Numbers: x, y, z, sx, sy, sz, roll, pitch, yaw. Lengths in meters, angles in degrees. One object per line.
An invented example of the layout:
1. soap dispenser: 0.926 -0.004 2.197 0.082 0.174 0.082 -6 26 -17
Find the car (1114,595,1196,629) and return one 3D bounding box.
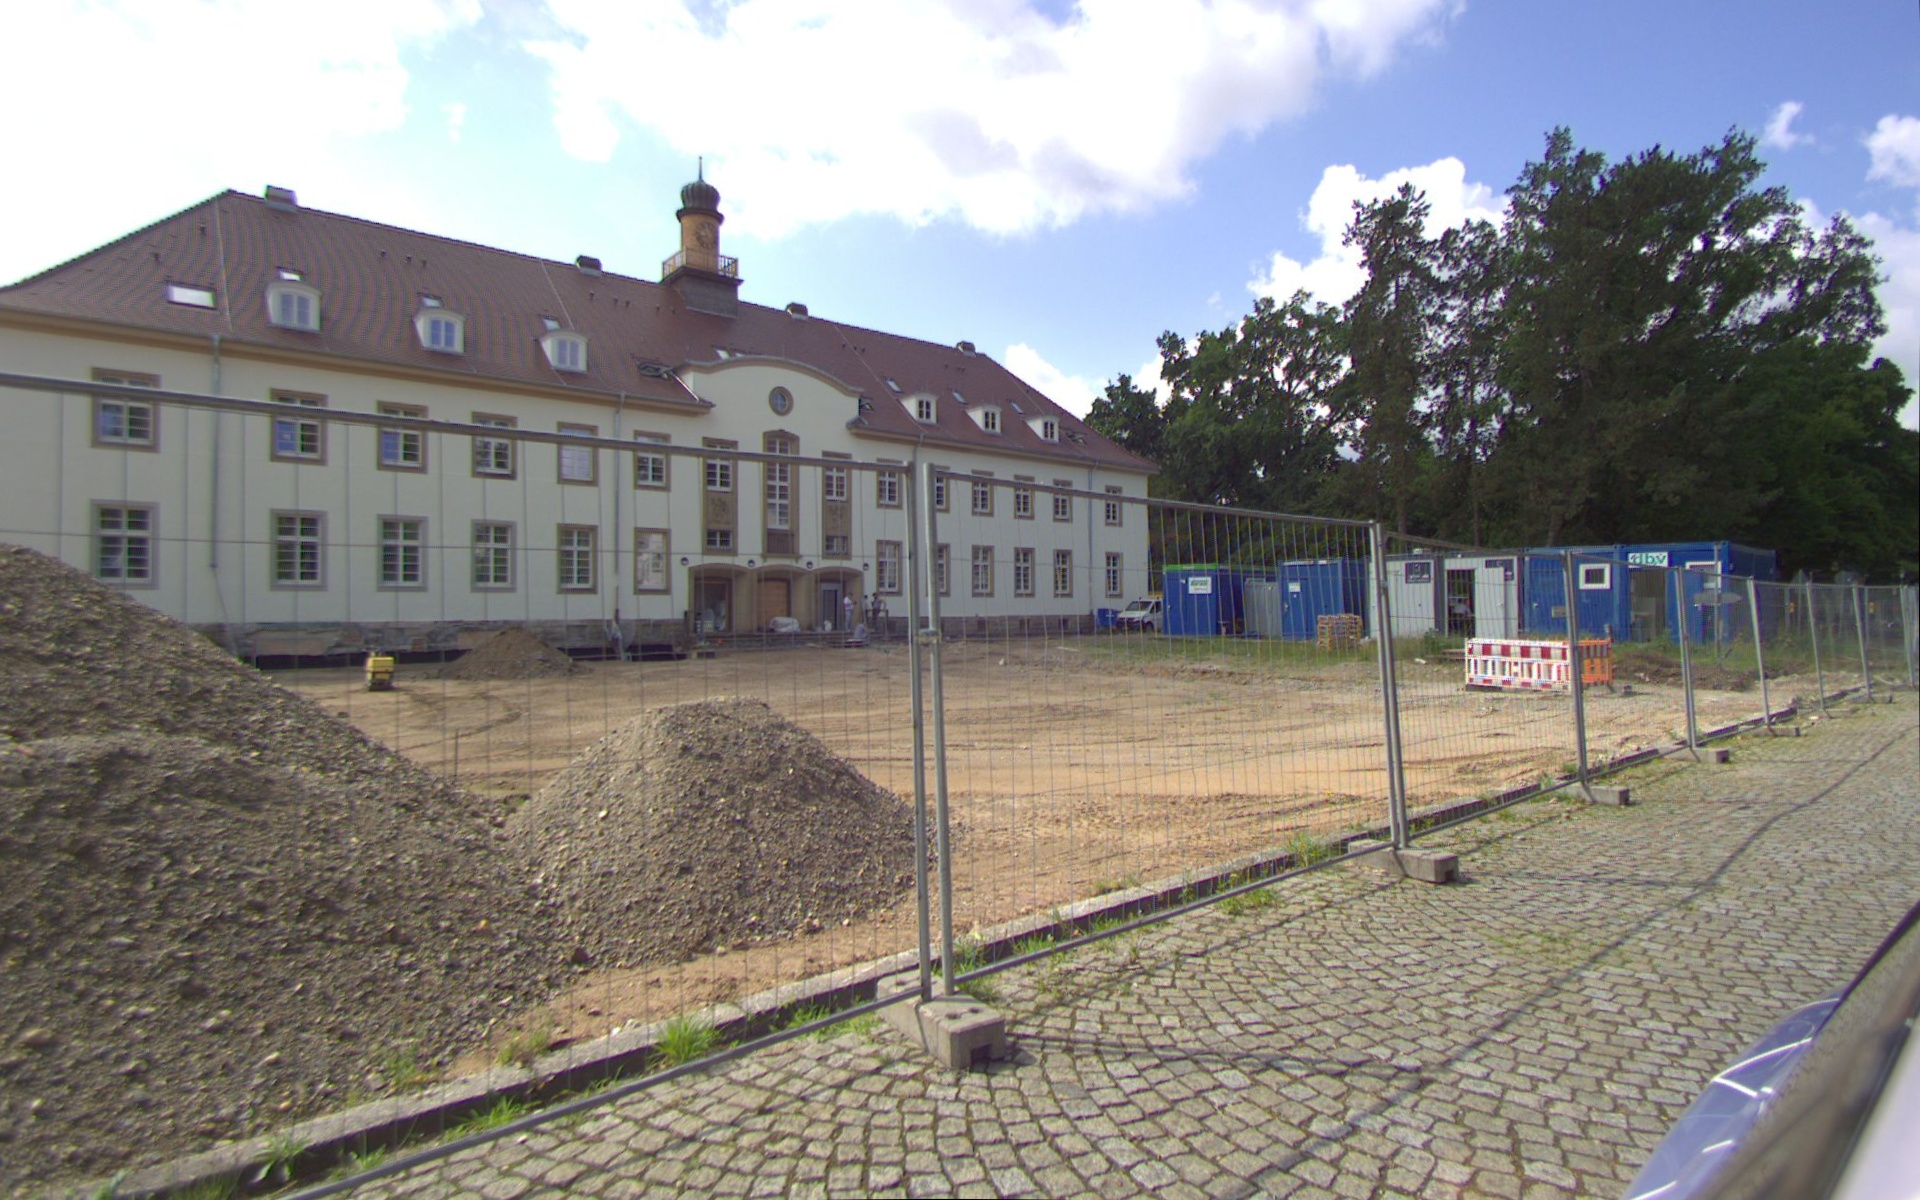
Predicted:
1. car: 10.634 0.607 55.040 4.623 1.750 1.884 0 0 -39

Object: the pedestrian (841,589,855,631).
1. pedestrian: -4.855 0.441 43.821 0.496 1.811 0.492 0 -1 -18

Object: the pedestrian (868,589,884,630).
1. pedestrian: -3.703 0.426 44.675 0.498 1.811 0.490 1 -2 -43

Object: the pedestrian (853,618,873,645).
1. pedestrian: -4.073 1.313 42.505 0.697 1.128 0.490 1 -1 -42

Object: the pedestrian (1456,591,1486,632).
1. pedestrian: 15.841 0.363 31.381 0.671 1.259 0.602 1 -1 -41
